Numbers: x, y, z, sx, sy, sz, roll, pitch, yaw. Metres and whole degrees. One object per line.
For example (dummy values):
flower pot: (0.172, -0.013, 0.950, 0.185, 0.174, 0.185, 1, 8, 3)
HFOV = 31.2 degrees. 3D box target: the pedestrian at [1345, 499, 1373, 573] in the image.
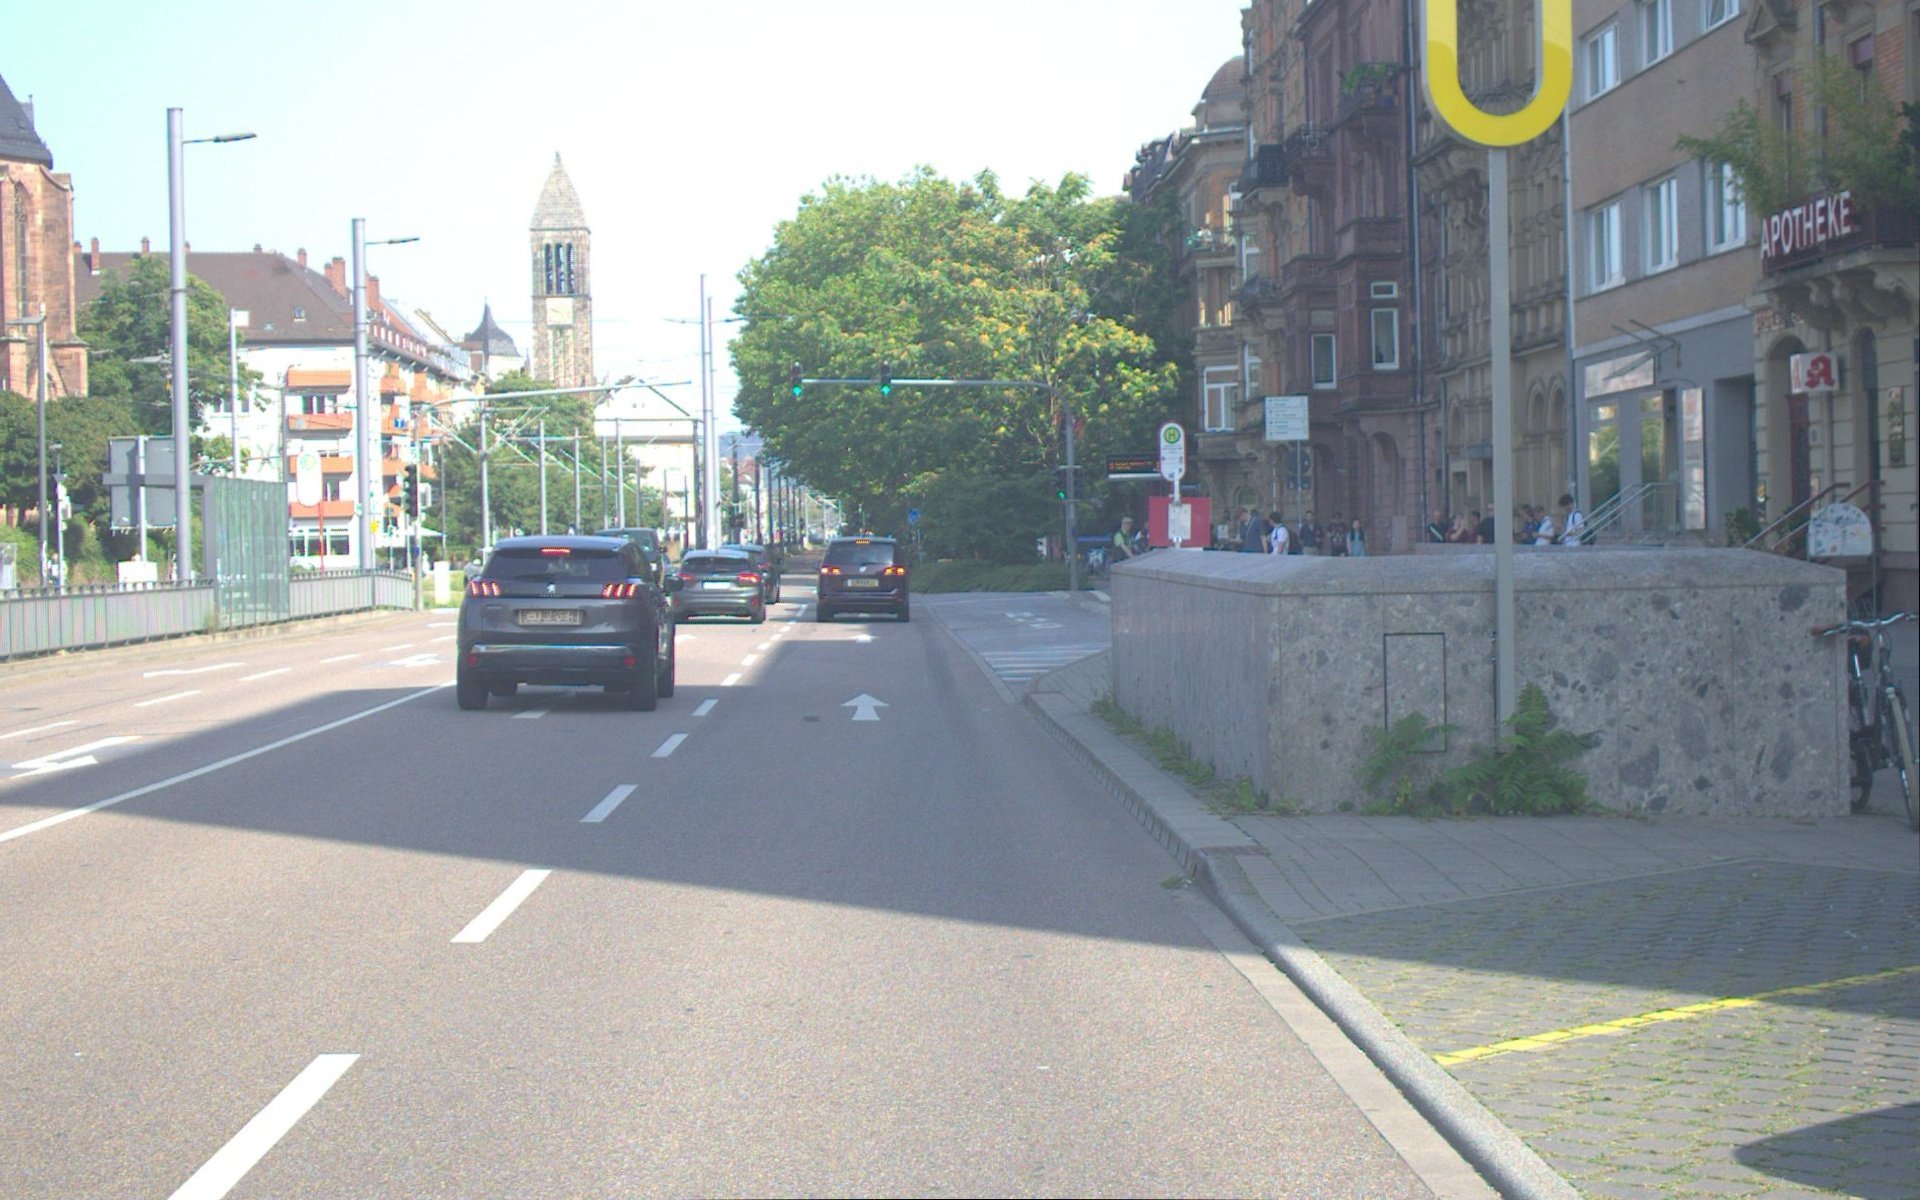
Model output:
pedestrian: (8.765, -1.400, 75.571, 0.486, 1.605, 0.813, -1, 1, 0)

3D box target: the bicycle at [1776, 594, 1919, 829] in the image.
bicycle: (4.723, 0.558, 18.095, 0.383, 1.130, 1.790, -1, 1, -1)

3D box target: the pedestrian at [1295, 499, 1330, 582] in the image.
pedestrian: (7.733, -1.303, 75.496, 0.617, 1.798, 1.071, -1, 1, 0)

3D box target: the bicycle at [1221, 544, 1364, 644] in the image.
bicycle: (3.988, -0.074, 41.317, 1.633, 1.144, 0.601, -1, 1, 1)

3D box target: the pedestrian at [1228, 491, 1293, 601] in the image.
pedestrian: (5.063, -0.918, 57.928, 0.925, 1.825, 0.801, -1, 1, -4)

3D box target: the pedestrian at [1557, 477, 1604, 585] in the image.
pedestrian: (10.707, -1.193, 59.324, 0.603, 1.825, 0.742, -1, 1, -4)

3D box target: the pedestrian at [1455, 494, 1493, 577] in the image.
pedestrian: (10.370, -1.306, 69.357, 0.603, 1.649, 0.587, -1, 1, -4)

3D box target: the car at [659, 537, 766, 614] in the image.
car: (-4.830, -0.502, 67.592, 1.864, 1.419, 4.357, 0, 1, -1)

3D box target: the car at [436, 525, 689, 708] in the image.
car: (-3.731, 0.100, 32.950, 1.993, 1.615, 4.357, 0, 1, -1)

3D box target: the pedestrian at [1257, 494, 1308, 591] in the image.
pedestrian: (5.831, -1.036, 62.153, 0.749, 1.723, 0.801, -1, 1, -4)

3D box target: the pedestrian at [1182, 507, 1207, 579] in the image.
pedestrian: (5.591, -1.360, 81.962, 0.481, 1.696, 0.703, -1, 1, -4)

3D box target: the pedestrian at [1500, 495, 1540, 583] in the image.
pedestrian: (10.833, -1.186, 66.541, 0.603, 1.686, 0.587, -1, 1, -4)

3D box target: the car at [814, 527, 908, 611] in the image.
car: (-1.987, -0.660, 69.562, 1.831, 1.615, 4.357, 0, 1, -1)

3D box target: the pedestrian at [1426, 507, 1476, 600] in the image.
pedestrian: (8.660, -0.823, 60.672, 0.720, 1.605, 0.856, -1, 1, 0)

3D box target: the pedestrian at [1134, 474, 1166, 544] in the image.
pedestrian: (4.559, -2.192, 82.571, 0.690, 1.658, 0.619, -1, 1, -1)

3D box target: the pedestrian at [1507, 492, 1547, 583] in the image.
pedestrian: (10.802, -1.190, 65.489, 0.603, 1.725, 0.511, -1, 1, -4)

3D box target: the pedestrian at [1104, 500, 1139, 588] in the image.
pedestrian: (3.198, -1.119, 68.092, 0.565, 1.723, 0.745, -1, 1, -4)

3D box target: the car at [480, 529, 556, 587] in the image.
car: (-13.015, -1.270, 101.478, 1.713, 1.606, 4.505, -2, 1, -2)

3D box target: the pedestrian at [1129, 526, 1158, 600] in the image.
pedestrian: (4.014, -0.818, 75.253, 0.528, 1.606, 0.703, -1, 1, -4)

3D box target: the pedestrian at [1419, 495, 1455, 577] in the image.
pedestrian: (10.101, -1.358, 72.777, 0.629, 1.713, 0.691, -1, 1, -1)

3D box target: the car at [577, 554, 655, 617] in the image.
car: (-8.882, -0.393, 89.084, 1.740, 1.521, 3.874, -1, 1, -2)

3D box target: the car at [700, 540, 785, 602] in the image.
car: (-5.289, -0.730, 84.049, 1.864, 1.419, 4.357, 0, 1, -1)

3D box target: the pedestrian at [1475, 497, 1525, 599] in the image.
pedestrian: (9.531, -0.918, 60.690, 0.720, 1.781, 0.856, -1, 1, 0)

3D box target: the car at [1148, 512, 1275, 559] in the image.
car: (8.894, -2.276, 121.901, 4.179, 1.558, 2.000, -1, 1, -5)

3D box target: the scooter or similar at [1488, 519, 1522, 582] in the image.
scooter or similar: (10.188, -0.932, 64.279, 0.360, 1.159, 1.152, -1, 1, -4)
